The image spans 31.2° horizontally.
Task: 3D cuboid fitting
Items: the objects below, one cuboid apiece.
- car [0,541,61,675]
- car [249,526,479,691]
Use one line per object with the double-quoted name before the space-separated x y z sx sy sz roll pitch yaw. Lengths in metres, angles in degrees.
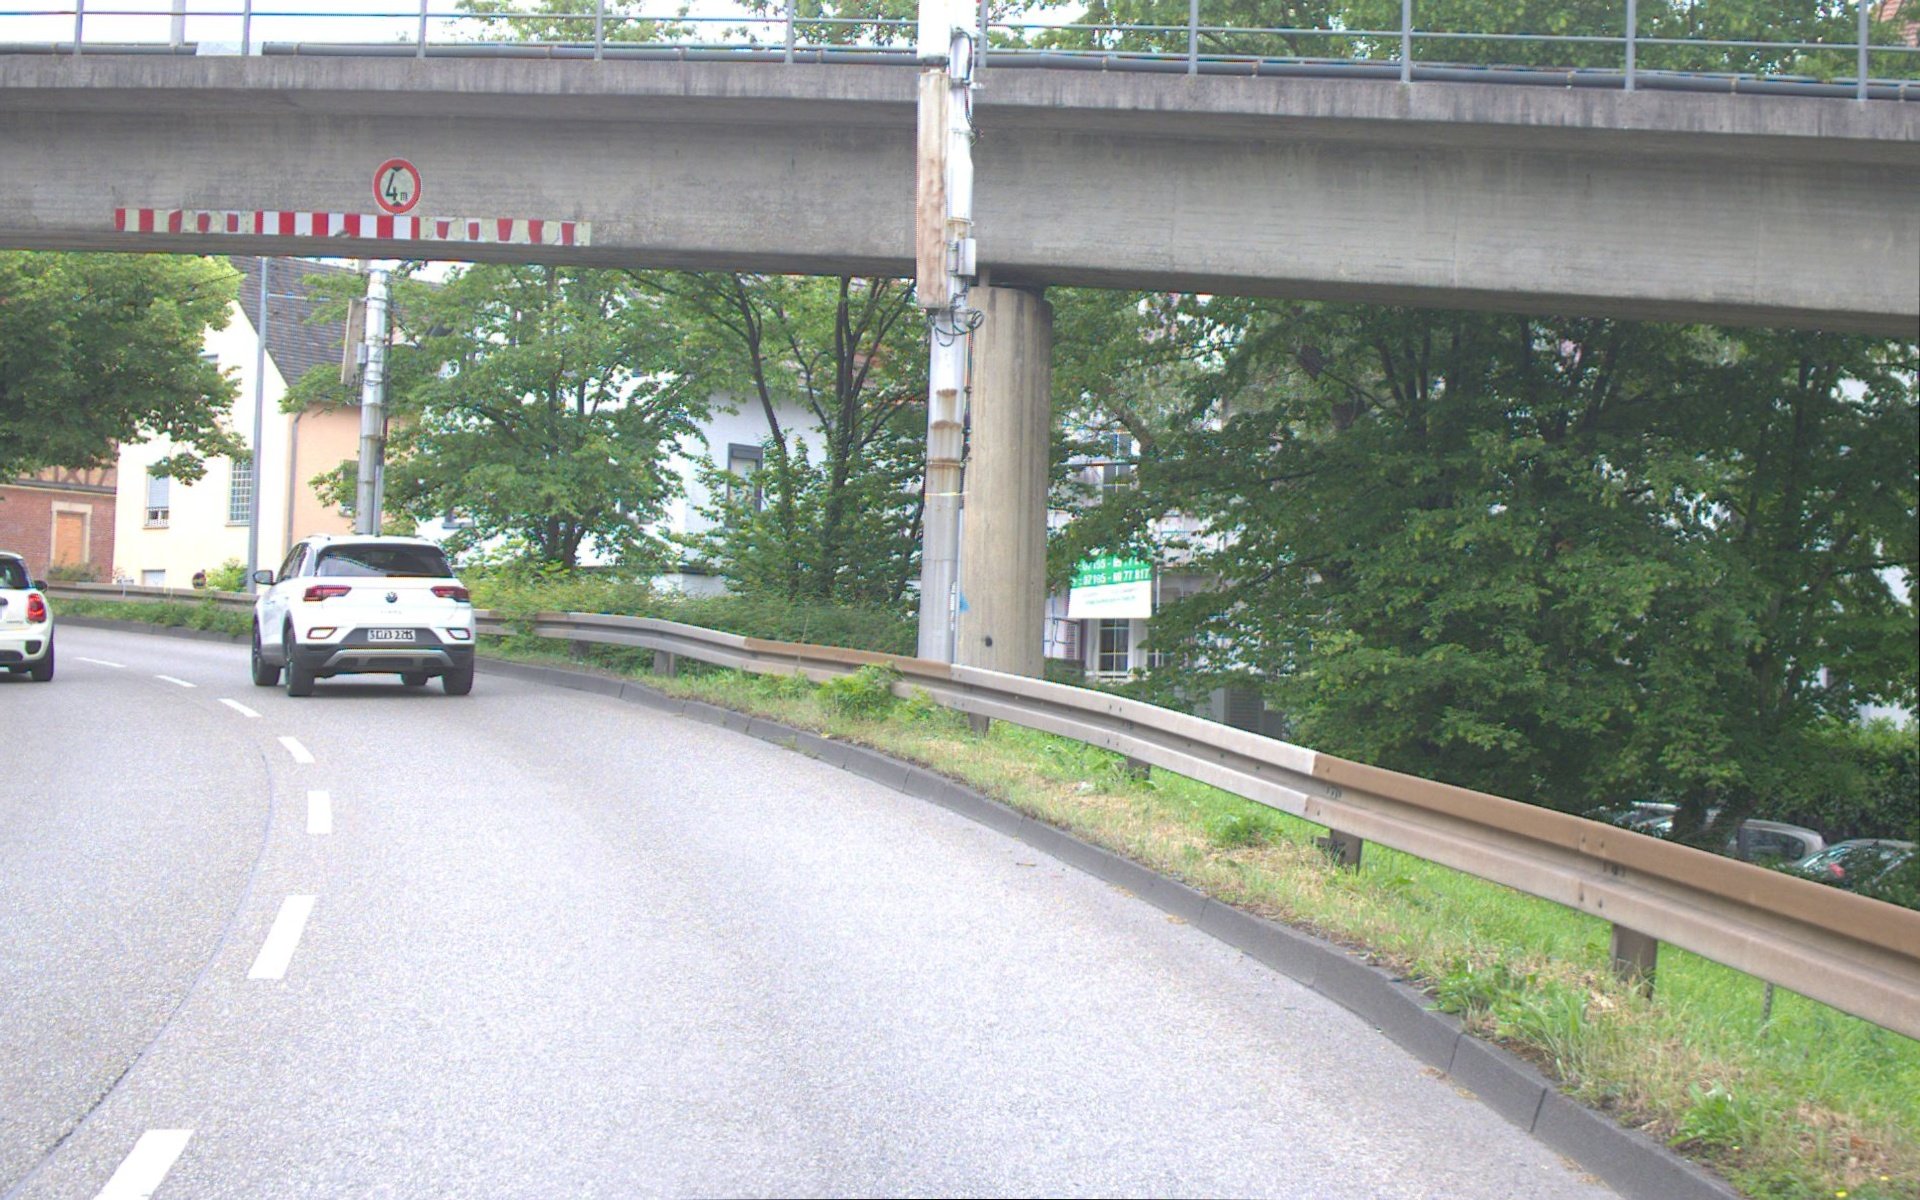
"car" -10.915 0.042 37.192 1.722 1.371 3.457 1 1 -24
"car" -5.944 0.051 34.043 1.796 1.513 3.458 1 1 -17
